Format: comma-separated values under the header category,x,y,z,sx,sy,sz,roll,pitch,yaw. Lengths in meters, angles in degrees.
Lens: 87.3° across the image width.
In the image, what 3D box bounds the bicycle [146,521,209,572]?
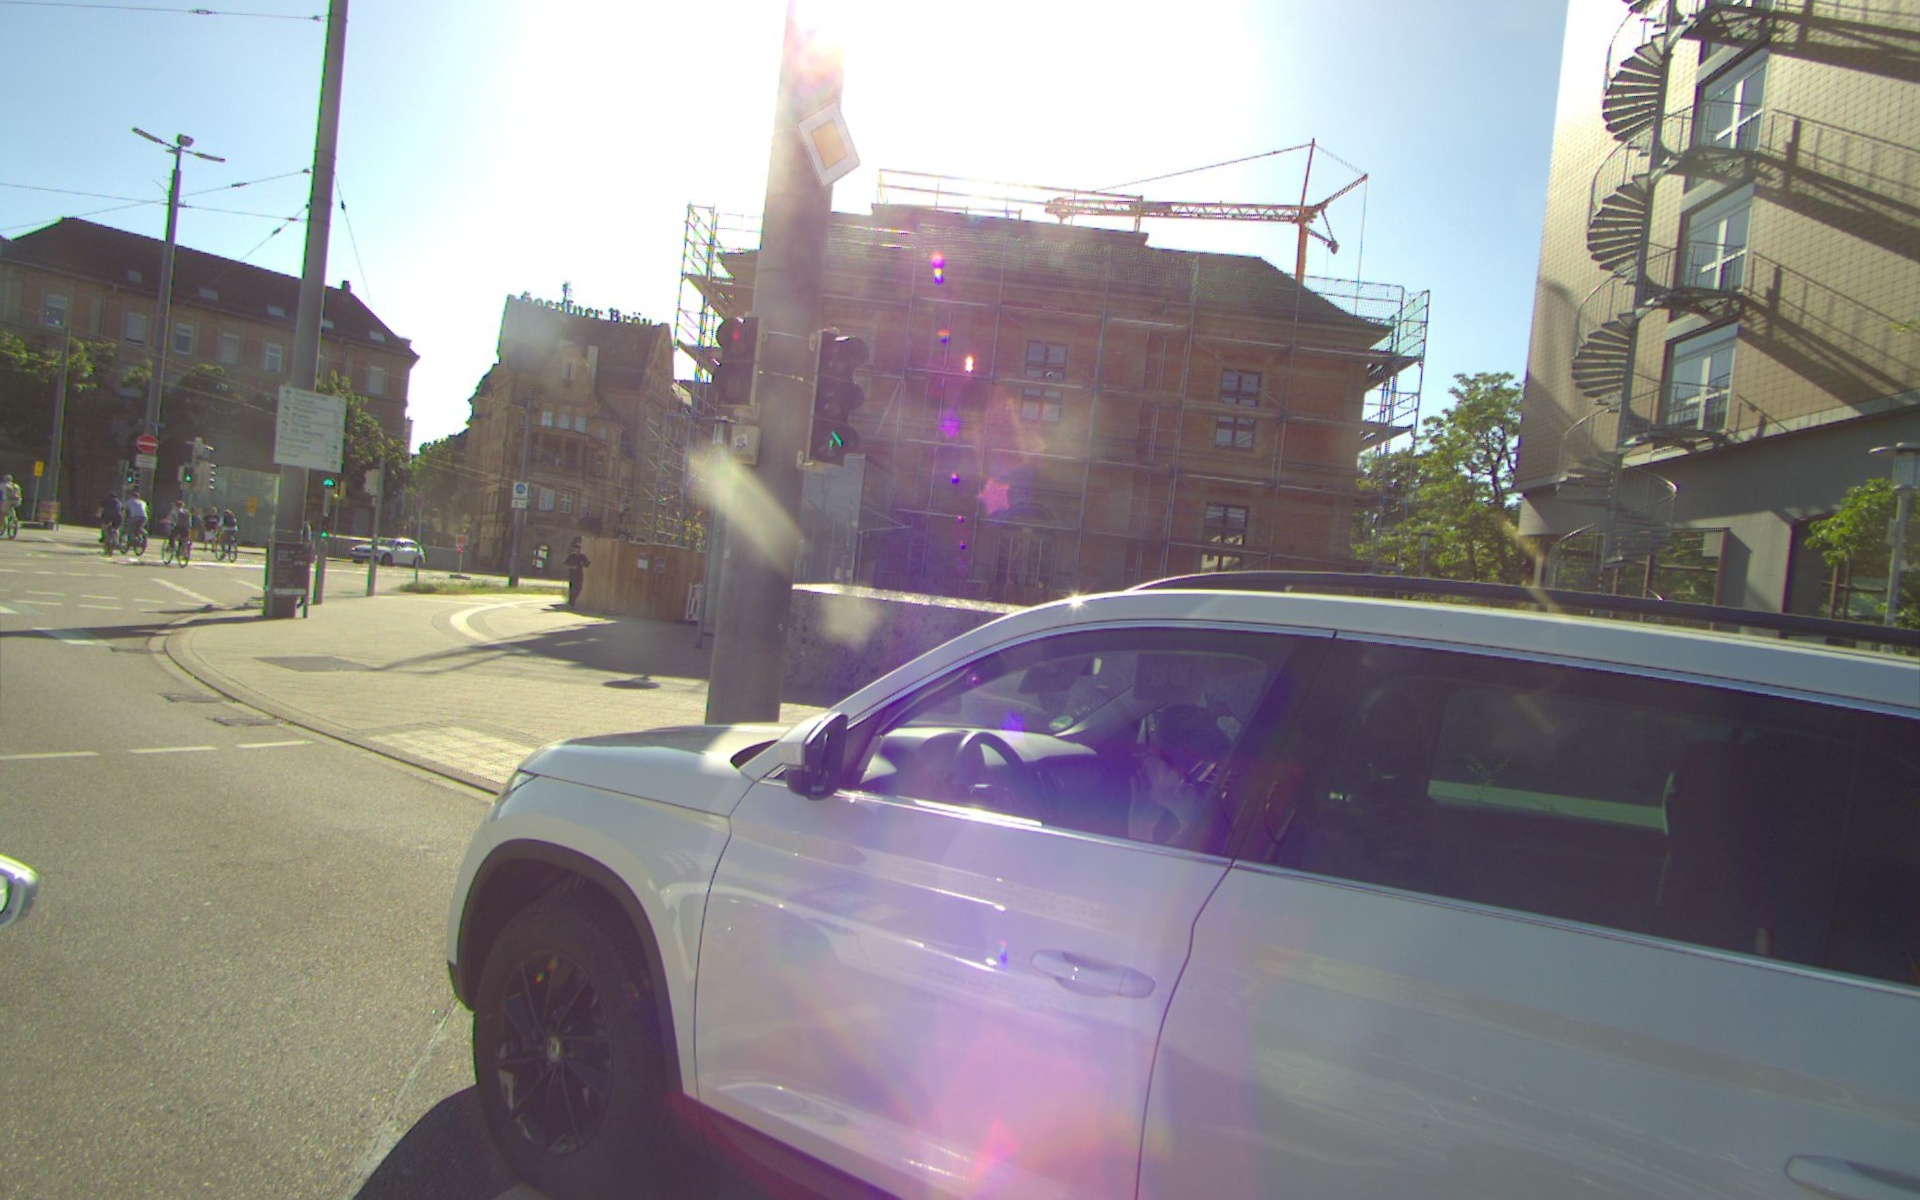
category,x,y,z,sx,sy,sz,roll,pitch,yaw
bicycle,-20.821,-1.426,26.746,1.853,1.178,0.685,6,1,33

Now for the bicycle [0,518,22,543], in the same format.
category,x,y,z,sx,sy,sz,roll,pitch,yaw
bicycle,-29.154,-2.131,30.722,0.534,0.664,1.707,6,0,-38

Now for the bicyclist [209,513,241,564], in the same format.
category,x,y,z,sx,sy,sz,roll,pitch,yaw
bicyclist,-24.641,-2.070,33.725,0.933,1.588,0.571,7,1,40

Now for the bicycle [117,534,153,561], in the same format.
category,x,y,z,sx,sy,sz,roll,pitch,yaw
bicycle,-24.823,-1.579,30.260,1.446,0.664,0.536,6,1,39

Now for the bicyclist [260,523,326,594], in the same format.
category,x,y,z,sx,sy,sz,roll,pitch,yaw
bicyclist,-13.044,-0.807,19.676,0.892,1.296,0.720,7,3,31

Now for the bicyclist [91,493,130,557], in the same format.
category,x,y,z,sx,sy,sz,roll,pitch,yaw
bicyclist,-23.561,-2.057,27.896,0.623,1.656,0.984,8,-3,-42

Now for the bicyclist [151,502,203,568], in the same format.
category,x,y,z,sx,sy,sz,roll,pitch,yaw
bicyclist,-20.820,-1.726,26.750,0.961,1.618,0.685,7,1,33

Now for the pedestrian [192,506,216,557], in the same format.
category,x,y,z,sx,sy,sz,roll,pitch,yaw
pedestrian,-31.170,-2.831,41.498,0.443,2.039,0.462,7,1,14

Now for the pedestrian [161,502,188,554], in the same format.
category,x,y,z,sx,sy,sz,roll,pitch,yaw
pedestrian,-32.327,-2.967,41.382,0.443,2.039,0.574,7,1,14

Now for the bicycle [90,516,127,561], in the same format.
category,x,y,z,sx,sy,sz,roll,pitch,yaw
bicycle,-23.640,-1.687,27.930,0.623,1.126,1.830,8,-4,-42

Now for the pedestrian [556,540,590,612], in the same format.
category,x,y,z,sx,sy,sz,roll,pitch,yaw
pedestrian,-10.712,-0.655,27.853,0.692,1.904,0.716,6,1,-23

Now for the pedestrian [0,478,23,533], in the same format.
category,x,y,z,sx,sy,sz,roll,pitch,yaw
pedestrian,-29.086,-2.886,30.695,0.545,1.582,0.849,6,1,-38

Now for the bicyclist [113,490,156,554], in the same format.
category,x,y,z,sx,sy,sz,roll,pitch,yaw
bicyclist,-24.823,-2.332,30.251,0.910,1.802,0.746,7,2,39

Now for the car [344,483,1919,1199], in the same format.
category,x,y,z,sx,sy,sz,roll,pitch,yaw
car,0.640,0.762,2.342,4.226,1.662,1.697,6,0,31

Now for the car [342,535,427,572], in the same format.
category,x,y,z,sx,sy,sz,roll,pitch,yaw
car,-31.919,-2.536,55.965,1.766,1.582,4.327,6,0,7

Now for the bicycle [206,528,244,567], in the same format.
category,x,y,z,sx,sy,sz,roll,pitch,yaw
bicycle,-24.644,-1.763,33.717,1.715,1.139,0.571,6,1,41
